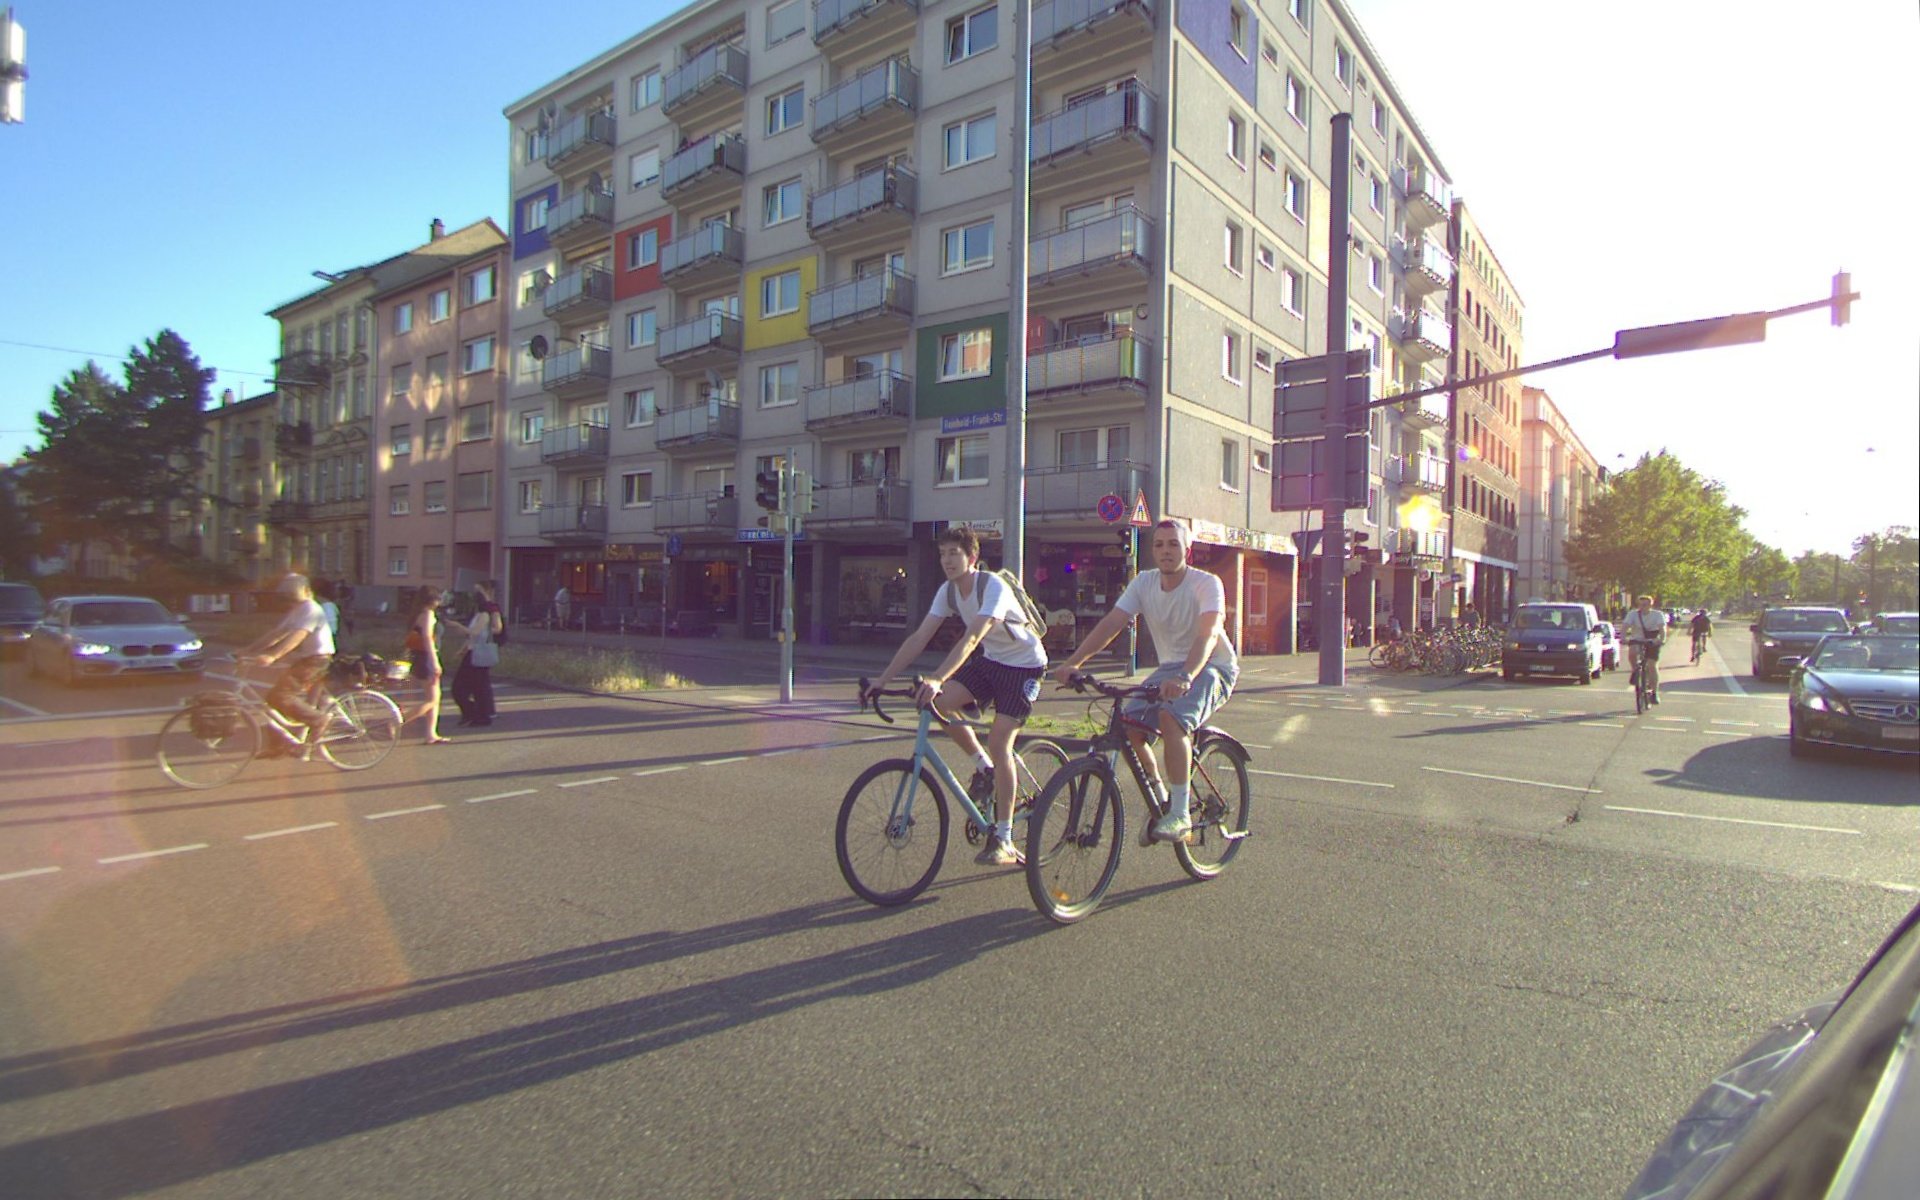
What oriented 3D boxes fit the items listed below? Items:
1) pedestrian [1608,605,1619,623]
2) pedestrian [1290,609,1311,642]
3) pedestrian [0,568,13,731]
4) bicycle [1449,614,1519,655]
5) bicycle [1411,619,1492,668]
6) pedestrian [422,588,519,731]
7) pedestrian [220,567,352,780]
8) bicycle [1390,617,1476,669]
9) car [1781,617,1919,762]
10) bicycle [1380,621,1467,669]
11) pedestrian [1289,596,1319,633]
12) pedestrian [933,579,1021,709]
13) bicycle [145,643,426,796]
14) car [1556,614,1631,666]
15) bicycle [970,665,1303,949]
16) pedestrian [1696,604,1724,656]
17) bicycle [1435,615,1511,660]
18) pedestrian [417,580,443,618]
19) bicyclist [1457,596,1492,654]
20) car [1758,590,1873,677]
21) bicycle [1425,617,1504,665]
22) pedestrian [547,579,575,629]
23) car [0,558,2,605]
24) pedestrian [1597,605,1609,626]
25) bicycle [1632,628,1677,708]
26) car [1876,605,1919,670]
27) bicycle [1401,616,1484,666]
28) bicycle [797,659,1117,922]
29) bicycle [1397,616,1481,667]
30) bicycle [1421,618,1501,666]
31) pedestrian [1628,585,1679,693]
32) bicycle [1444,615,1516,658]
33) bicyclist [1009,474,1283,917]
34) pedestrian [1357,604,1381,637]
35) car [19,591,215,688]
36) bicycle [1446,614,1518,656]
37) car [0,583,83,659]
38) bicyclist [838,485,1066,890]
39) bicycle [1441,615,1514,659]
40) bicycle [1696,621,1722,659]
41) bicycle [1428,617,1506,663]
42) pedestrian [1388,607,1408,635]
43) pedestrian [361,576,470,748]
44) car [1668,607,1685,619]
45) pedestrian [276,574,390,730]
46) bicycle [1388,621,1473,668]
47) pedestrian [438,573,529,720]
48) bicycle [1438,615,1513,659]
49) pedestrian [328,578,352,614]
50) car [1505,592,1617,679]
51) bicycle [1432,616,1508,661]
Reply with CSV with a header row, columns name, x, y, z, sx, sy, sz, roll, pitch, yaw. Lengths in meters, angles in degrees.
name,x,y,z,sx,sy,sz,roll,pitch,yaw
pedestrian,53.786,1.151,83.266,0.724,1.458,0.912,0,0,36
pedestrian,11.848,0.870,35.251,0.638,1.113,0.542,1,0,16
pedestrian,-10.696,0.516,10.603,0.782,1.723,1.012,1,0,39
bicycle,16.508,1.076,31.891,1.862,1.139,0.561,4,2,35
bicycle,13.203,1.155,27.223,1.862,1.139,0.561,4,2,35
pedestrian,-5.474,0.637,11.321,0.680,1.519,0.736,1,0,39
pedestrian,-5.431,0.540,8.161,0.675,1.609,0.749,1,2,44
bicycle,12.040,1.084,25.799,1.862,1.139,0.599,4,2,35
car,10.497,0.900,11.350,1.767,1.324,4.185,1,0,36
bicycle,11.332,1.086,24.778,1.862,1.074,0.599,1,0,36
pedestrian,12.242,0.501,36.010,0.633,1.290,0.862,1,0,-15
pedestrian,0.241,0.581,14.018,0.661,1.726,1.055,1,0,42
bicycle,-5.389,0.905,8.188,0.520,0.993,1.821,1,2,44
car,19.818,1.192,31.608,1.679,1.499,3.491,-1,-1,37
bicycle,0.932,0.886,4.896,1.947,1.041,0.479,1,1,-43
pedestrian,24.540,0.959,33.116,0.676,1.670,0.888,-1,-1,41
bicycle,14.949,1.072,29.521,1.862,1.139,0.561,4,2,35
pedestrian,-22.641,-0.028,43.233,0.724,1.596,0.702,1,0,37
bicyclist,16.864,0.800,33.173,0.741,1.830,1.366,1,0,40
car,22.094,0.787,26.298,1.910,2.015,4.882,1,0,36
bicycle,14.000,1.121,28.112,1.862,1.139,0.561,4,2,35
pedestrian,-14.574,0.133,36.955,0.726,1.798,0.700,1,0,45
car,-58.351,-1.132,59.591,4.520,2.755,2.063,1,0,36
pedestrian,53.198,1.274,83.752,0.724,1.697,0.912,1,0,36
bicycle,11.210,1.059,16.321,0.527,1.174,1.824,-1,-1,37
car,28.089,1.024,29.151,1.945,1.734,4.787,-2,-1,36
bicycle,12.738,1.068,26.729,1.862,1.139,0.561,4,2,35
bicycle,0.061,0.881,5.285,0.575,1.041,1.828,2,1,42
bicycle,12.416,1.066,26.260,1.862,1.139,0.561,4,2,35
bicycle,13.670,1.138,27.650,1.862,1.139,0.561,4,2,35
pedestrian,11.116,0.606,16.221,0.636,1.670,0.832,-1,-1,37
bicycle,15.884,1.089,30.945,1.862,1.139,0.561,4,2,35
bicyclist,0.899,0.391,4.847,1.039,1.830,0.827,1,0,-43
pedestrian,16.577,0.838,41.058,0.644,1.311,0.940,1,0,40
car,-14.286,0.572,17.080,3.979,1.393,1.781,1,1,38
bicycle,16.194,1.072,31.417,1.862,1.139,0.561,4,2,35
car,-20.205,0.391,21.461,3.980,1.482,1.762,1,0,39
bicyclist,-0.026,0.393,5.177,0.673,1.830,0.979,1,0,41
bicycle,15.571,1.099,30.473,1.862,1.139,0.561,4,2,35
bicycle,24.504,1.294,33.104,0.528,1.174,1.822,-1,-1,41
bicycle,14.316,1.117,28.584,1.862,1.139,0.561,4,2,35
pedestrian,18.370,0.867,42.441,0.603,1.166,0.718,1,0,37
pedestrian,-5.360,0.576,9.967,0.681,1.609,0.735,1,0,42
car,94.599,1.754,133.582,1.766,1.501,4.251,1,0,37
pedestrian,-7.141,0.557,11.531,0.726,1.683,0.893,1,0,39
bicycle,11.724,1.089,25.248,1.862,1.074,0.599,1,0,36
pedestrian,-5.709,0.534,12.135,0.680,1.683,0.736,1,0,39
bicycle,15.265,1.078,29.994,1.862,1.139,0.561,4,2,35
pedestrian,-27.551,-0.175,44.968,0.723,1.596,0.702,1,0,35
car,15.243,0.820,25.554,1.932,1.957,4.767,1,0,37
bicycle,14.633,1.092,29.054,1.862,1.139,0.561,4,2,35
